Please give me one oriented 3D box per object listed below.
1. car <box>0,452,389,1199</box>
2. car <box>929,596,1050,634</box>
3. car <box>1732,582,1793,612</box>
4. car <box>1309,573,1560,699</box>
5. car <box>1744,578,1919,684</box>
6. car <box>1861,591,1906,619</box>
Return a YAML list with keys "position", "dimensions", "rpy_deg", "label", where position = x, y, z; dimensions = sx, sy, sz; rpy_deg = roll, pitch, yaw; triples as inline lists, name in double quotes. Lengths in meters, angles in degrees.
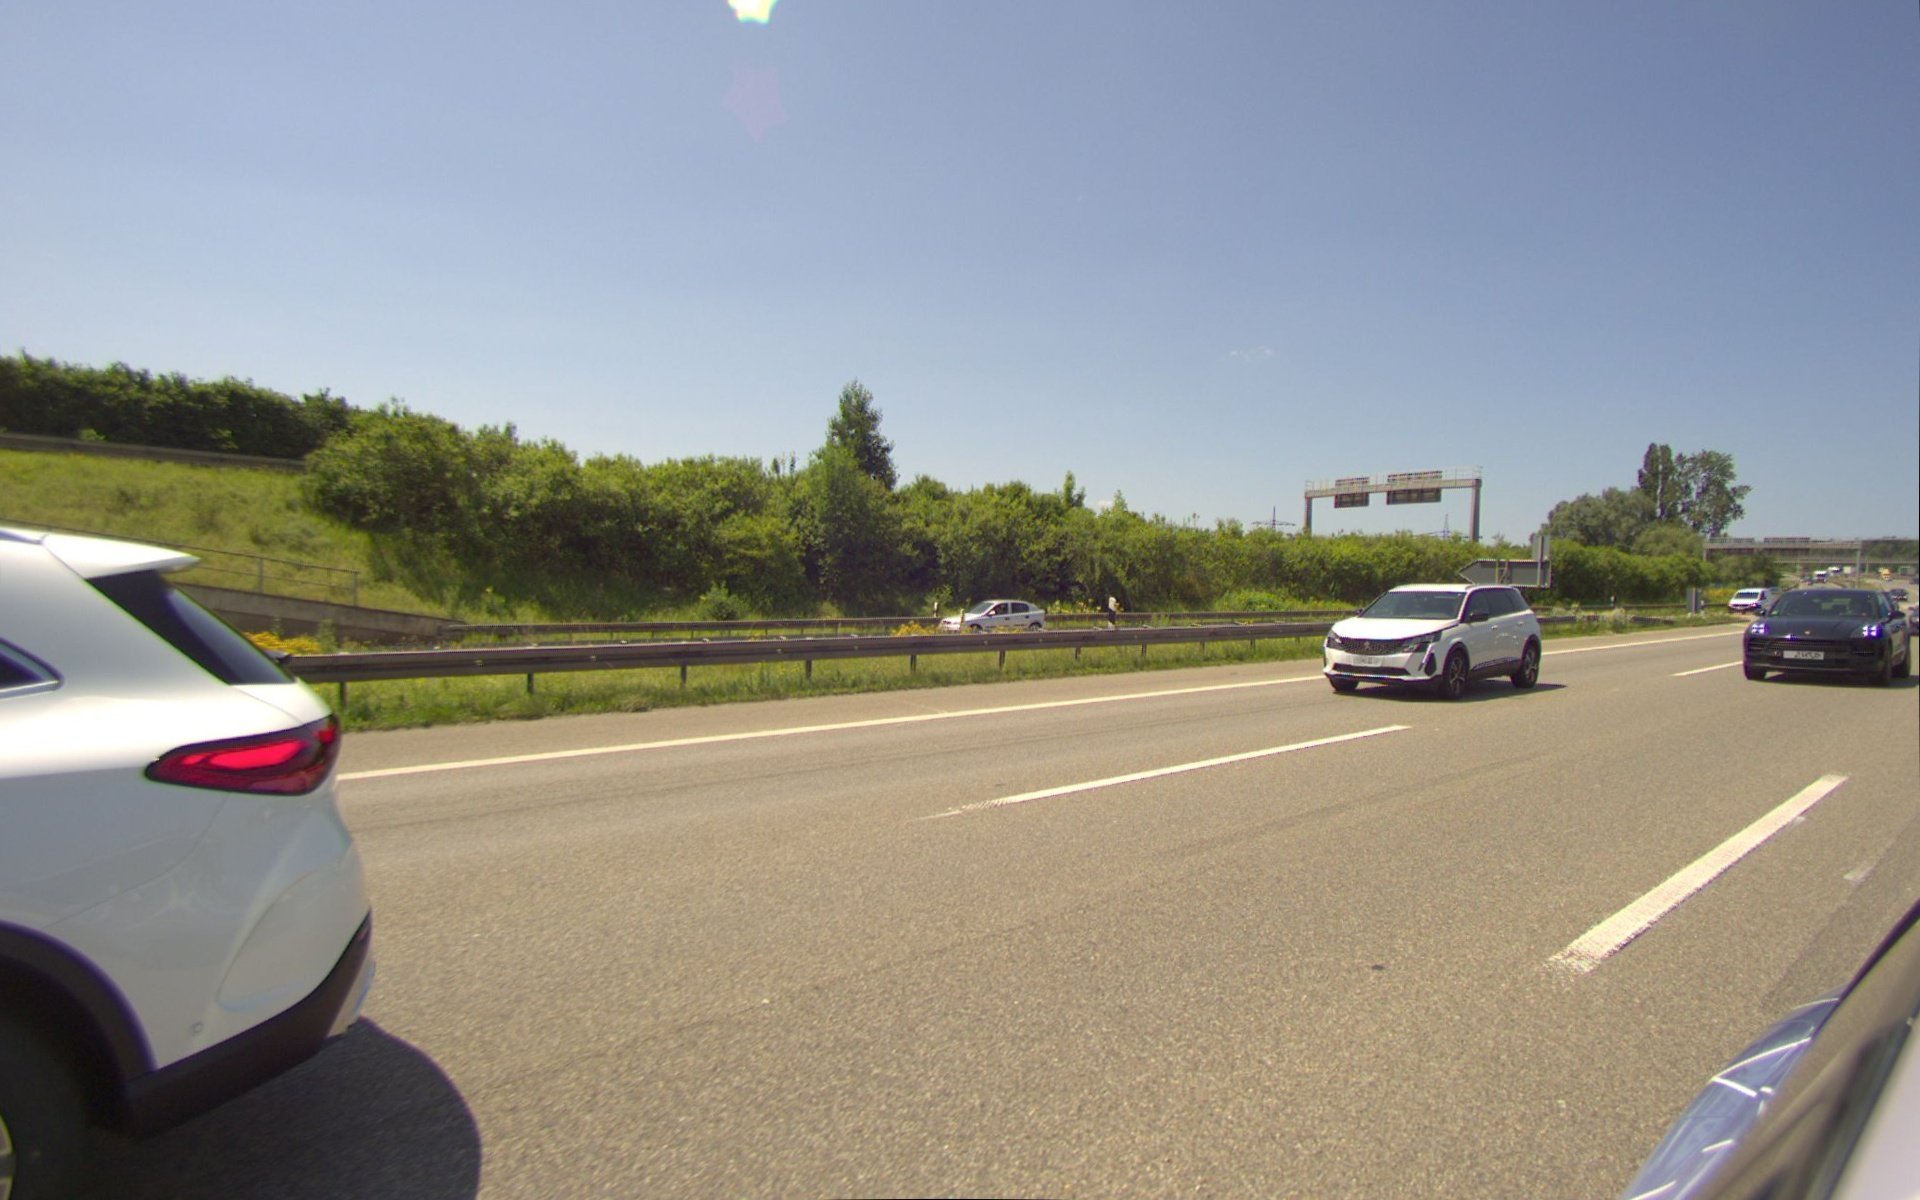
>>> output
- position: [-3.626, 0.559, 1.510]
  dimensions: [4.556, 1.676, 1.908]
  rpy_deg: [0, 0, -41]
  label: "car"
- position: [1.069, 0.501, 36.520]
  dimensions: [3.995, 1.296, 1.902]
  rpy_deg: [0, 1, -29]
  label: "car"
- position: [57.165, -0.208, 72.054]
  dimensions: [4.671, 2.039, 2.001]
  rpy_deg: [0, 1, -33]
  label: "car"
- position: [7.396, 0.448, 15.564]
  dimensions: [4.538, 1.650, 1.896]
  rpy_deg: [-1, 1, -42]
  label: "car"
- position: [15.726, 0.451, 18.088]
  dimensions: [4.538, 1.650, 1.980]
  rpy_deg: [-1, 1, -42]
  label: "car"
- position: [52.570, 0.259, 57.603]
  dimensions: [1.748, 1.489, 3.936]
  rpy_deg: [1, 1, 44]
  label: "car"
